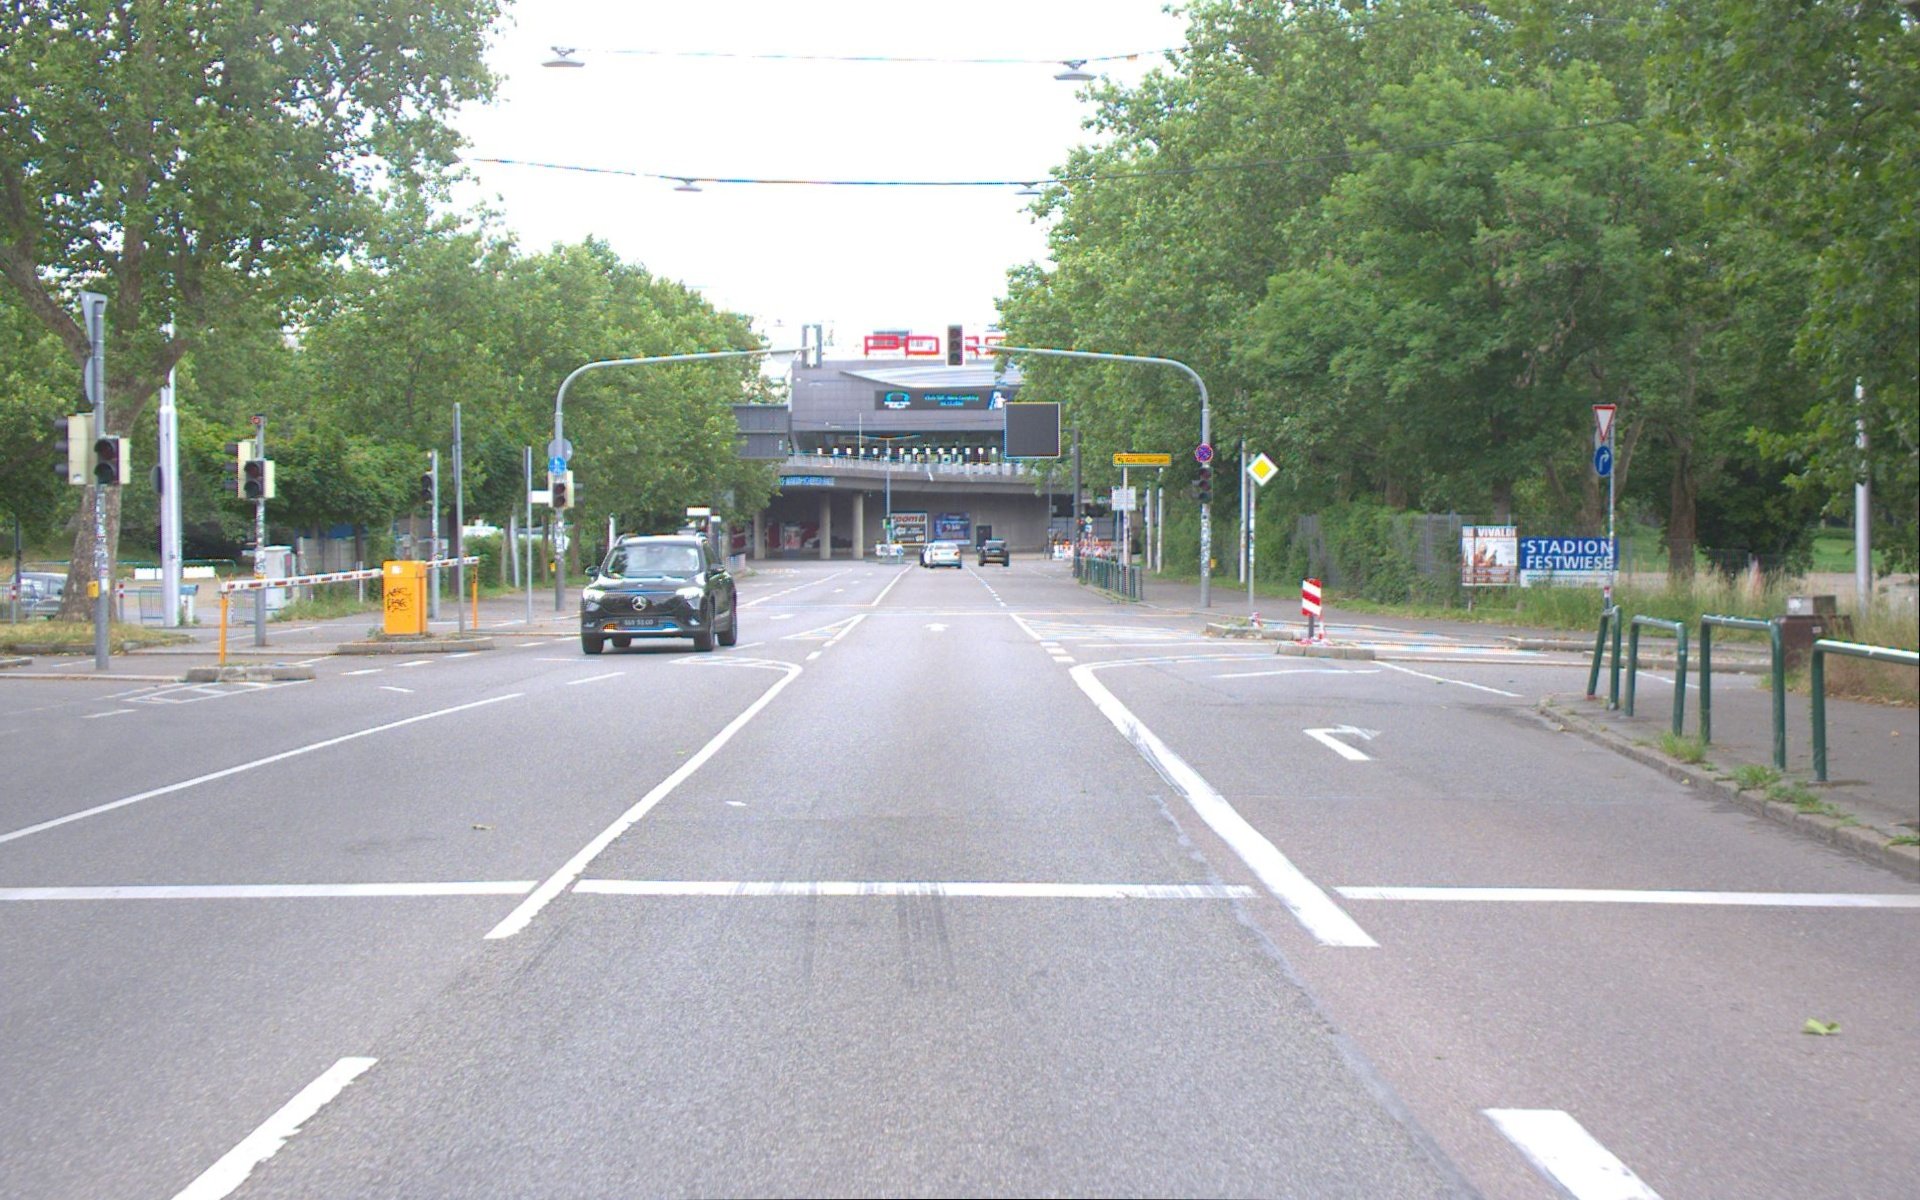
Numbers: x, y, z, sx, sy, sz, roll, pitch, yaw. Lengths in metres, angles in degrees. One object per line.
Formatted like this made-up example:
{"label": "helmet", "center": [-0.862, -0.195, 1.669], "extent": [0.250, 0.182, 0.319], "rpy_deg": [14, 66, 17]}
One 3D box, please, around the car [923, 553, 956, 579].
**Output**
{"label": "car", "center": [-1.195, -1.962, 198.390], "extent": [1.778, 1.455, 3.822], "rpy_deg": [2, 1, 1]}

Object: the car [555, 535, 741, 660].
{"label": "car", "center": [-4.408, -0.068, 49.232], "extent": [1.994, 1.654, 4.517], "rpy_deg": [-1, 1, 3]}

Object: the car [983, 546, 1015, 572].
{"label": "car", "center": [2.526, -2.655, 222.111], "extent": [2.007, 1.693, 4.069], "rpy_deg": [0, 1, 1]}
